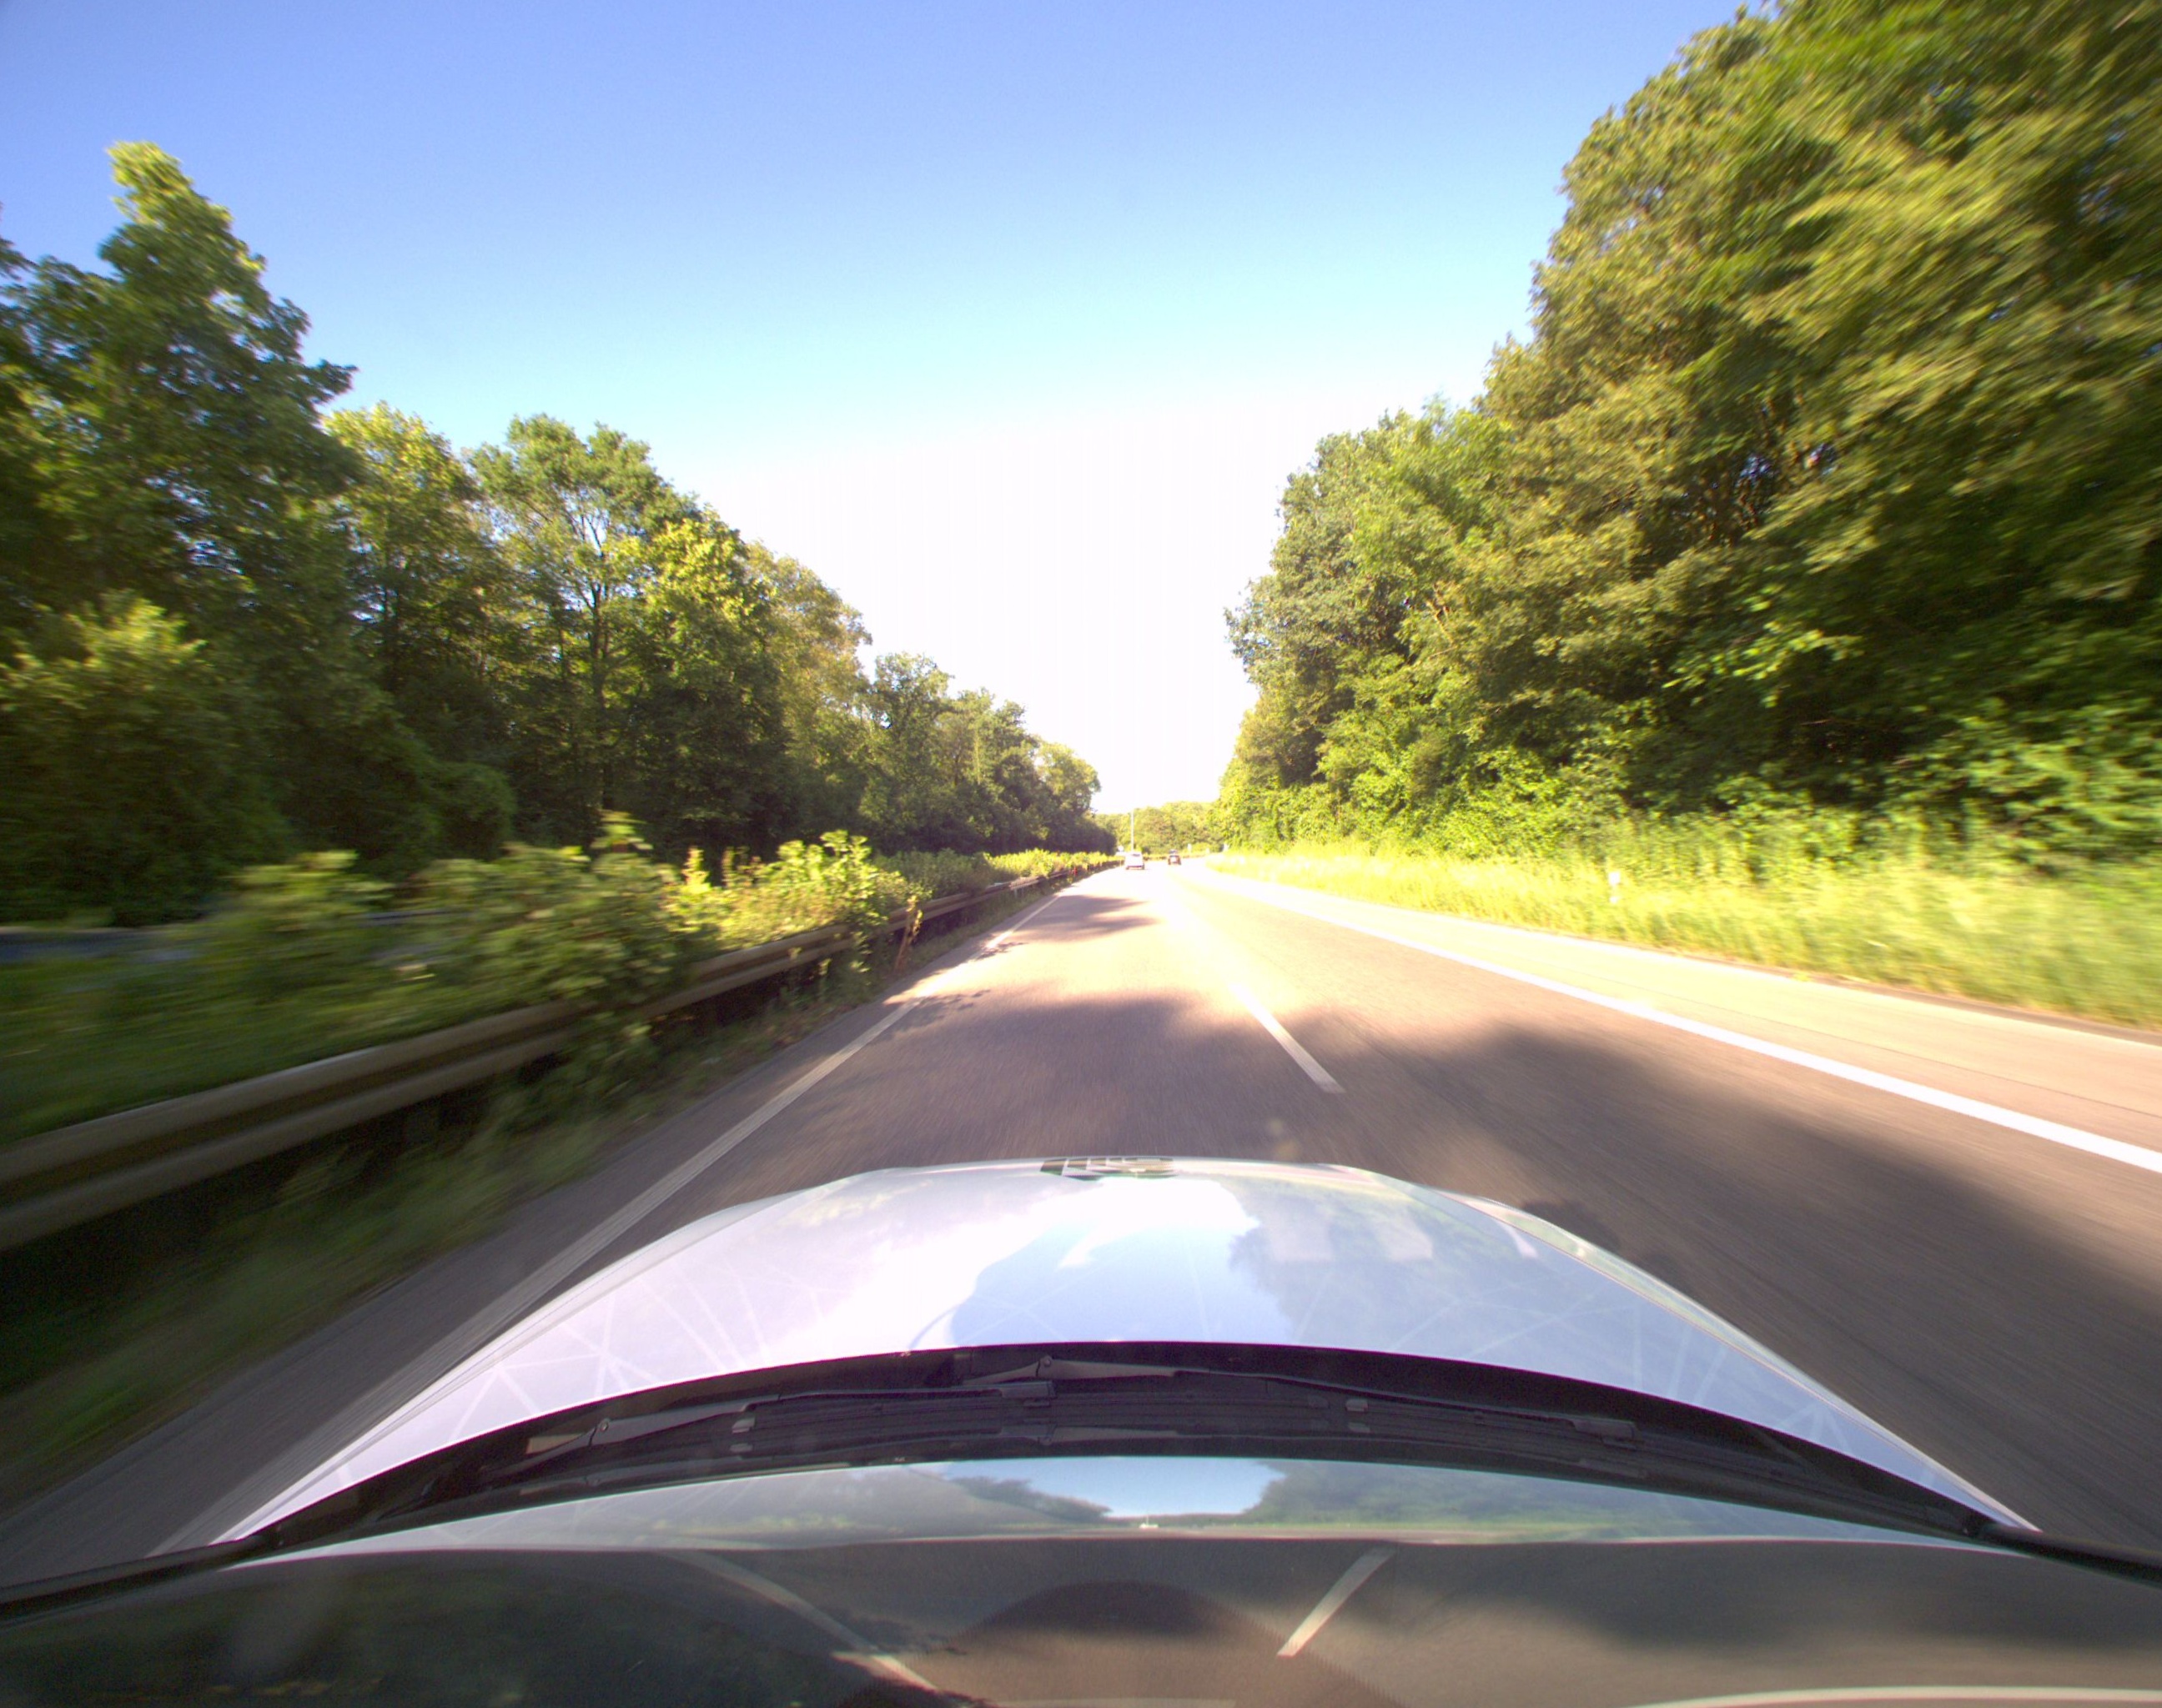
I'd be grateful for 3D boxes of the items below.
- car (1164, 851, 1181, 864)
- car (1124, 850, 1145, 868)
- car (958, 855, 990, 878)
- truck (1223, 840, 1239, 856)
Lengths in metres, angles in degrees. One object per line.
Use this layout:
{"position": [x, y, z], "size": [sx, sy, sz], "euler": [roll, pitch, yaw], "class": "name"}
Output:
{"position": [13.043, 0.506, 116.407], "size": [1.944, 1.782, 4.588], "euler": [-1, 0, 1], "class": "car"}
{"position": [5.437, 0.529, 83.046], "size": [1.944, 1.782, 4.588], "euler": [-1, 0, 1], "class": "car"}
{"position": [-9.048, 1.041, 69.283], "size": [1.986, 1.861, 4.711], "euler": [-1, 0, 1], "class": "car"}
{"position": [41.920, -1.667, 227.452], "size": [3.707, 4.343, 9.340], "euler": [-1, 0, 14], "class": "truck"}
